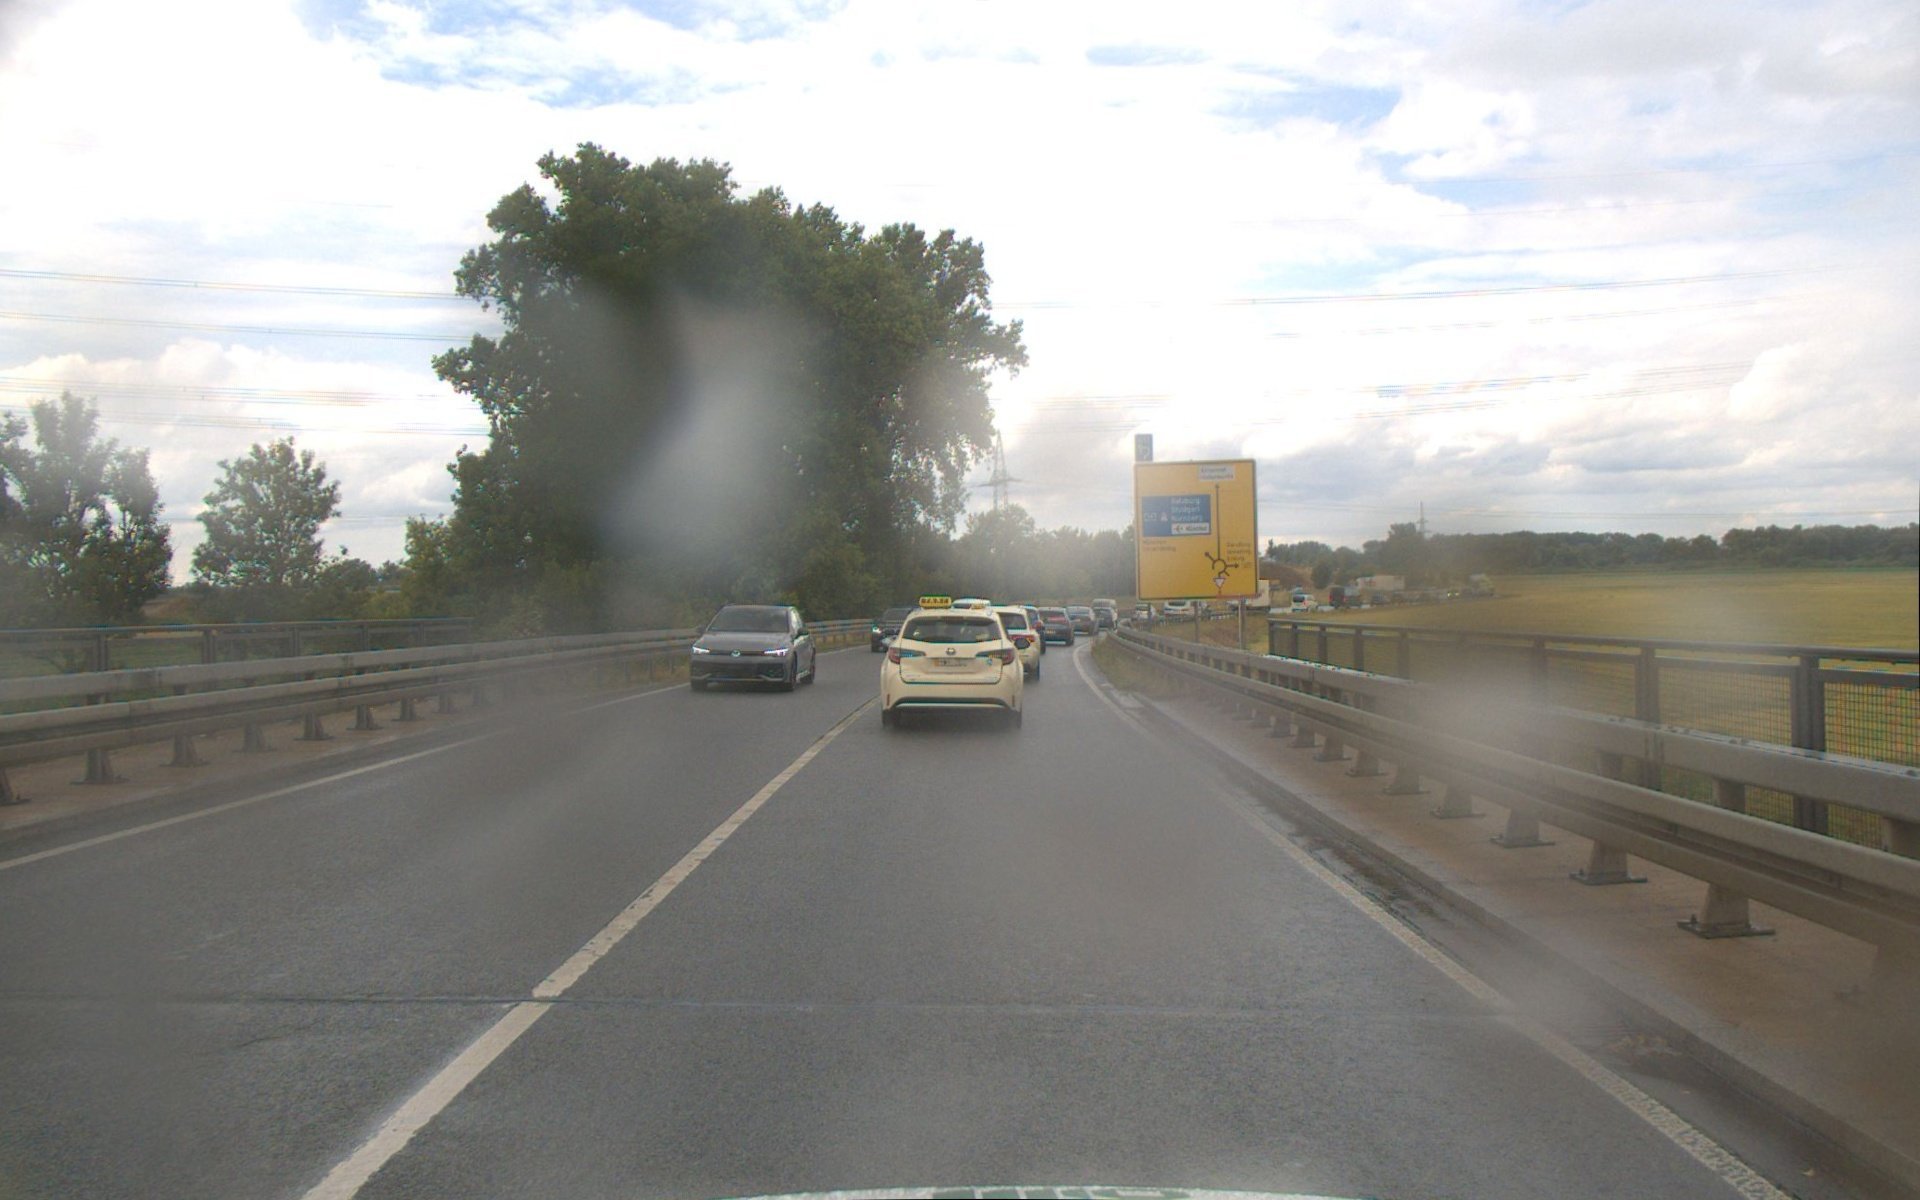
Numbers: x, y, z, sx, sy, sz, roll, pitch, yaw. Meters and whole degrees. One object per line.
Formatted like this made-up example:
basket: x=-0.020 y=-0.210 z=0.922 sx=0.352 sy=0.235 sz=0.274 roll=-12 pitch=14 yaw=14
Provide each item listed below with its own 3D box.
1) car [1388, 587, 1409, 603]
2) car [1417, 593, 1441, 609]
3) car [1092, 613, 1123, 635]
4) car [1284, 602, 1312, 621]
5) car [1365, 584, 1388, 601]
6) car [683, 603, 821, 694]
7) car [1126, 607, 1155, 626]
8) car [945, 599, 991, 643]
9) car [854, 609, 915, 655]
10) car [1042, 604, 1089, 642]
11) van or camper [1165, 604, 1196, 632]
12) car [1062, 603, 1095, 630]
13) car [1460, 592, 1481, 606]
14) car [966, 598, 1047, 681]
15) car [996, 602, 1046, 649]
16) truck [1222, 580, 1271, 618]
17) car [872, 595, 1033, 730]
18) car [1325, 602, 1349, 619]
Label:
car: x=58.103 y=-0.658 z=219.094 sx=1.954 sy=2.049 sz=3.996 roll=0 pitch=-1 yaw=25
car: x=64.878 y=0.142 z=228.813 sx=1.959 sy=2.049 sz=3.986 roll=0 pitch=-1 yaw=35
car: x=9.407 y=1.511 z=105.257 sx=1.451 sy=1.332 sz=3.479 roll=0 pitch=-1 yaw=14
car: x=38.161 y=1.284 z=186.685 sx=2.123 sy=2.049 sz=3.997 roll=0 pitch=-1 yaw=25
car: x=53.375 y=-0.914 z=211.891 sx=2.182 sy=2.049 sz=3.996 roll=0 pitch=-1 yaw=25
car: x=-3.599 y=0.817 z=29.300 sx=1.797 sy=1.468 sz=4.103 roll=1 pitch=-1 yaw=1
car: x=13.456 y=1.237 z=123.098 sx=1.451 sy=1.332 sz=3.478 roll=0 pitch=-1 yaw=18
car: x=0.404 y=0.951 z=76.556 sx=1.822 sy=1.925 sz=4.492 roll=0 pitch=0 yaw=4
car: x=-2.442 y=1.028 z=54.324 sx=1.661 sy=1.424 sz=4.332 roll=1 pitch=-1 yaw=1
car: x=4.283 y=0.929 z=66.911 sx=1.629 sy=1.490 sz=3.479 roll=0 pitch=-1 yaw=8
van or camper: x=18.488 y=1.539 z=138.460 sx=1.951 sy=2.293 sz=4.002 roll=1 pitch=-1 yaw=17
car: x=6.472 y=0.922 z=89.910 sx=1.625 sy=1.434 sz=3.907 roll=0 pitch=-1 yaw=7
car: x=76.308 y=-0.202 z=247.164 sx=1.733 sy=2.049 sz=3.984 roll=0 pitch=0 yaw=37
car: x=1.007 y=0.790 z=34.278 sx=1.545 sy=1.600 sz=3.682 roll=0 pitch=-1 yaw=3
car: x=1.951 y=0.808 z=53.595 sx=1.475 sy=1.462 sz=3.355 roll=1 pitch=-1 yaw=0
truck: x=28.782 y=-0.110 z=166.065 sx=3.077 sy=3.624 sz=7.517 roll=0 pitch=-1 yaw=24
car: x=-0.113 y=0.754 z=21.471 sx=1.867 sy=1.564 sz=4.160 roll=1 pitch=-1 yaw=-1
car: x=45.596 y=1.283 z=199.819 sx=1.955 sy=2.049 sz=3.996 roll=0 pitch=-1 yaw=26
